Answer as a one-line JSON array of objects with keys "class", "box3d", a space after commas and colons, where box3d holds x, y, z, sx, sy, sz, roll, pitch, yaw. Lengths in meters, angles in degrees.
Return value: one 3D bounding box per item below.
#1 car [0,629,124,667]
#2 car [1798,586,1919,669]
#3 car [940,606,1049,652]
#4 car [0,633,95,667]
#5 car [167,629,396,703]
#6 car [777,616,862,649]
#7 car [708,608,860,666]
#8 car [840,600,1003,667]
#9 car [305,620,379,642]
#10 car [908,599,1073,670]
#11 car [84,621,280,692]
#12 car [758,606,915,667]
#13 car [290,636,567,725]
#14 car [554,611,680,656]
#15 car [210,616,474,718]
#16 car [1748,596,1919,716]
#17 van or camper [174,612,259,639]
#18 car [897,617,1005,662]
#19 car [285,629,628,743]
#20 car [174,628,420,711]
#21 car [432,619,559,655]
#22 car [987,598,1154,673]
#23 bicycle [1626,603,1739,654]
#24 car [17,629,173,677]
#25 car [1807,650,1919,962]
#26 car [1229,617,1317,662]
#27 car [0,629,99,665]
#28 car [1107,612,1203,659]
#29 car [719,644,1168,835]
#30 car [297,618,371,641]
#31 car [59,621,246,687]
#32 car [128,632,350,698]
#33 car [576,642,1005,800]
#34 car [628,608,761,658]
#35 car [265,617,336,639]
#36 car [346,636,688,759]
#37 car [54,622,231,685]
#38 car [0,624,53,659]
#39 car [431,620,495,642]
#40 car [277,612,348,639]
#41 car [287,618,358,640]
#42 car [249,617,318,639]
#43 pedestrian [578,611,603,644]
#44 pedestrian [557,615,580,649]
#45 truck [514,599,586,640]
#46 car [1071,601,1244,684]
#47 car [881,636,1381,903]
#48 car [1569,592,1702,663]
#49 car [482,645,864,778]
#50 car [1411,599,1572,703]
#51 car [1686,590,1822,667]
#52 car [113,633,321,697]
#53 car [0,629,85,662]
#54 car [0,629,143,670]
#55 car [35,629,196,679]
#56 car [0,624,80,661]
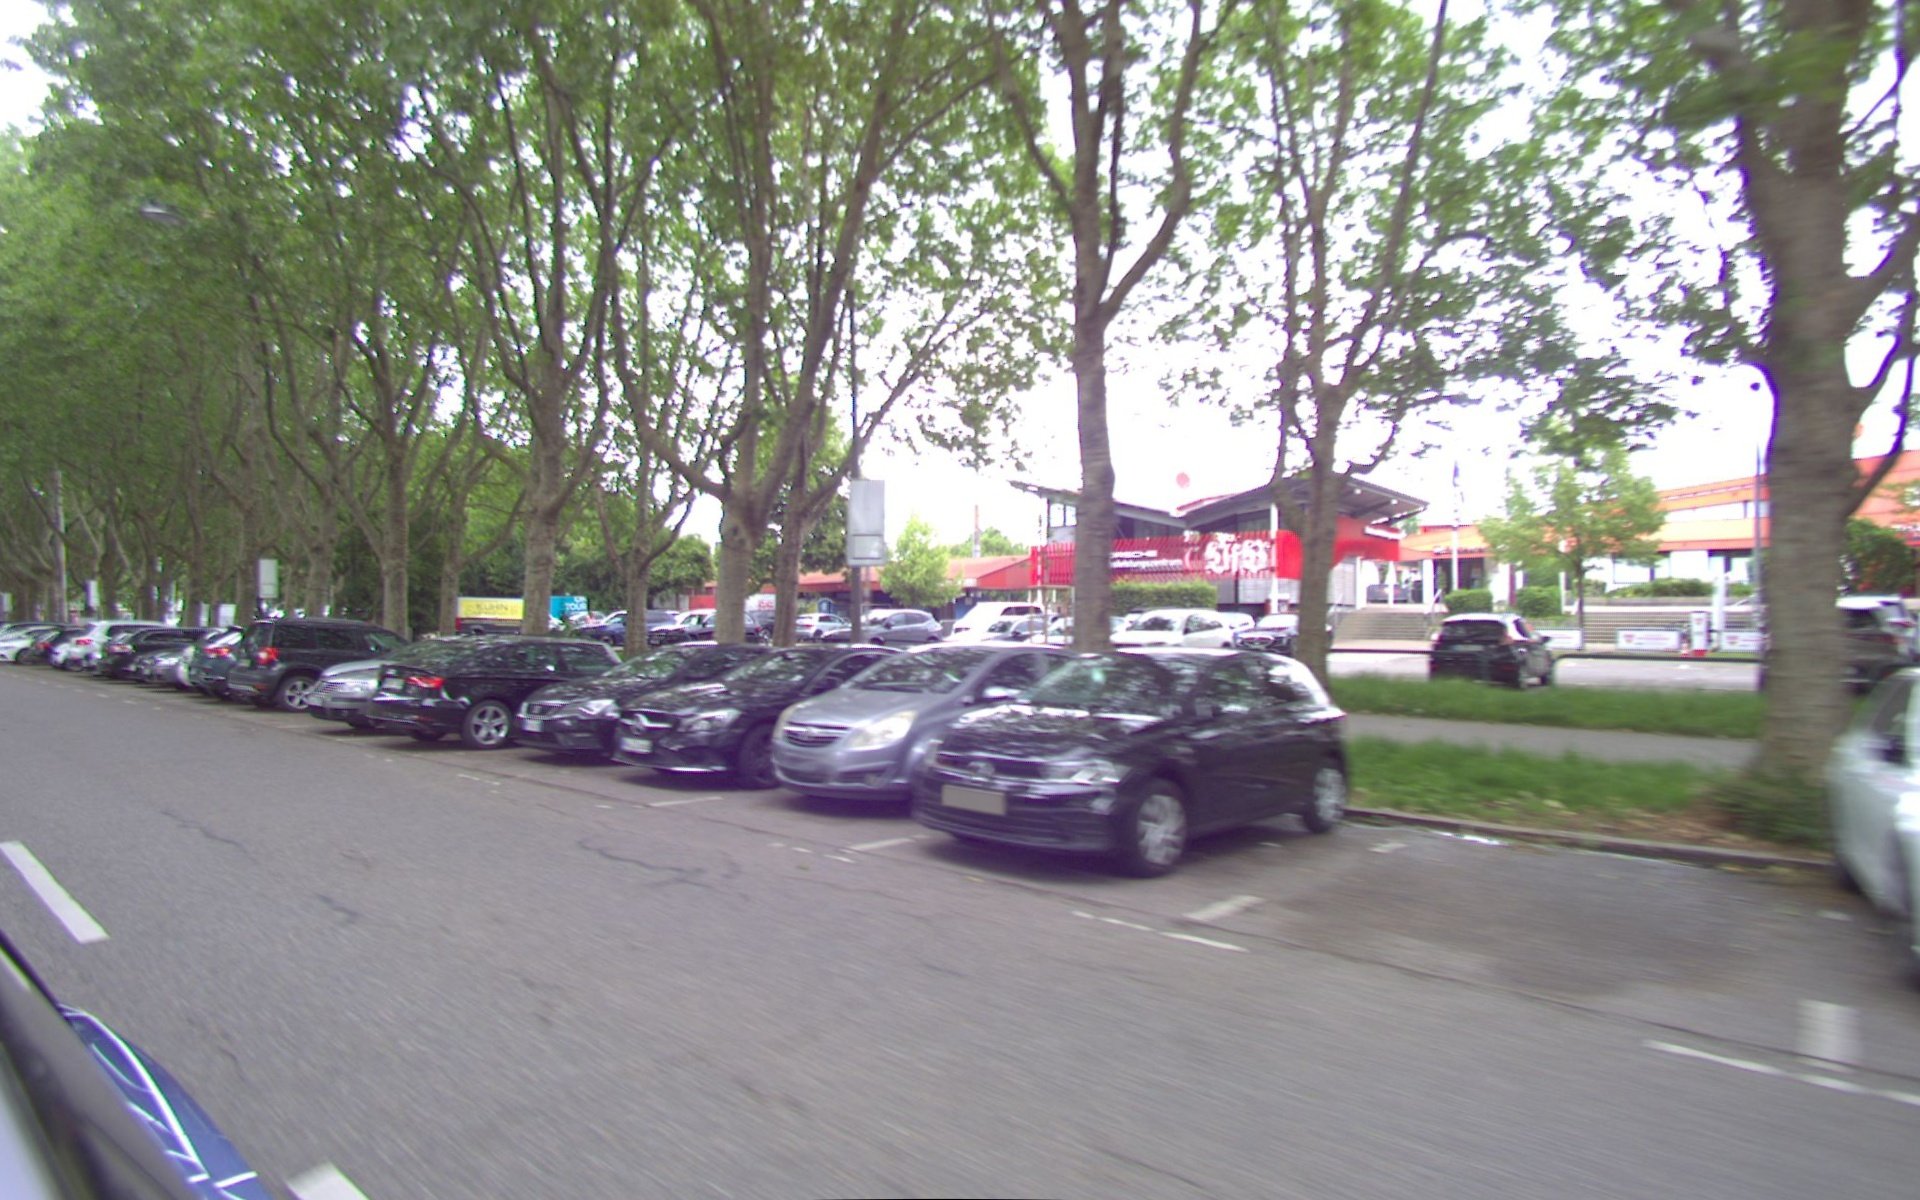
[{"class": "car", "box3d": [-36.133, 1.909, 40.120, 1.783, 1.428, 4.360, -2, -4, 42]}, {"class": "car", "box3d": [22.547, 0.633, 25.071, 4.525, 1.869, 2.298, 0, -1, -44]}, {"class": "car", "box3d": [1.529, 1.181, 42.849, 2.180, 1.810, 4.894, -1, -1, 38]}, {"class": "car", "box3d": [-40.103, 2.142, 43.346, 1.722, 1.406, 4.365, -2, -3, 38]}, {"class": "car", "box3d": [-15.005, 1.437, 22.527, 3.947, 1.497, 1.704, 3, -4, -45]}, {"class": "car", "box3d": [-6.983, 1.599, 50.661, 1.996, 1.562, 3.983, -1, -1, 36]}, {"class": "car", "box3d": [-5.855, 1.182, 34.231, 2.180, 1.810, 4.894, -1, -1, 38]}, {"class": "car", "box3d": [-1.030, 0.911, 29.812, 2.180, 1.810, 4.894, -1, -1, 38]}, {"class": "car", "box3d": [-56.199, 2.749, 92.158, 1.997, 1.864, 5.399, -1, -1, 38]}, {"class": "car", "box3d": [0.957, 0.886, 28.395, 2.180, 1.810, 4.894, -1, -1, 38]}, {"class": "car", "box3d": [-20.915, 1.455, 27.305, 1.855, 1.695, 3.945, -1, -1, 42]}, {"class": "car", "box3d": [-3.851, 1.124, 32.319, 2.180, 1.810, 4.894, -2, -2, 38]}, {"class": "car", "box3d": [-9.216, 1.345, 17.787, 1.825, 1.375, 3.891, -2, -3, 39]}, {"class": "car", "box3d": [-14.015, 1.398, 41.527, 1.998, 1.734, 4.508, -1, -3, 38]}, {"class": "car", "box3d": [-11.588, 1.230, 19.199, 1.750, 1.721, 3.891, -2, -4, 39]}, {"class": "car", "box3d": [14.761, 0.826, 16.975, 2.294, 1.738, 4.506, -1, -1, 40]}, {"class": "van or camper", "box3d": [-60.830, 2.060, 82.843, 2.242, 2.115, 5.234, -1, -1, 38]}, {"class": "car", "box3d": [-0.341, 1.693, 44.551, 2.180, 1.810, 4.894, -1, -1, 38]}, {"class": "car", "box3d": [-7.556, 1.244, 15.603, 1.701, 1.493, 4.419, -2, -3, 39]}, {"class": "car", "box3d": [-13.484, 1.382, 20.741, 1.728, 1.528, 3.888, -2, -4, 42]}, {"class": "car", "box3d": [-22.736, 1.758, 49.704, 2.093, 1.608, 5.295, -1, -1, 39]}, {"class": "car", "box3d": [3.040, 0.859, 26.932, 2.180, 1.810, 4.894, -1, -1, 38]}, {"class": "bicycle", "box3d": [22.756, 0.870, 31.909, 2.800, 1.551, 1.038, -1, -1, 41]}, {"class": "car", "box3d": [-30.199, 1.800, 35.407, 1.855, 1.464, 3.945, -1, -1, 42]}, {"class": "car", "box3d": [5.441, 0.978, 4.601, 1.758, 1.483, 3.756, -1, -3, 30]}, {"class": "car", "box3d": [10.629, 1.297, 34.254, 1.504, 1.382, 3.948, -1, -1, 39]}, {"class": "car", "box3d": [-38.335, 1.926, 41.493, 1.774, 1.435, 4.364, -2, -3, 39]}, {"class": "car", "box3d": [7.292, 1.266, 37.541, 1.997, 1.637, 3.950, -1, -1, 37]}, {"class": "car", "box3d": [0.085, 1.135, 9.710, 1.878, 1.380, 4.417, -2, -4, 40]}, {"class": "car", "box3d": [-58.016, 2.700, 93.902, 2.473, 2.013, 5.399, -1, -1, 38]}, {"class": "car", "box3d": [-23.041, 1.483, 28.985, 1.855, 1.695, 3.945, -1, -1, 42]}, {"class": "car", "box3d": [-17.006, 1.507, 24.018, 1.701, 1.431, 3.953, -2, -3, 39]}, {"class": "car", "box3d": [-1.634, 1.166, 11.073, 1.901, 1.358, 4.415, -2, -4, 42]}, {"class": "car", "box3d": [-9.861, 1.282, 37.877, 1.998, 1.734, 4.508, -1, -3, 38]}, {"class": "car", "box3d": [-65.753, 2.790, 100.996, 2.390, 2.036, 5.399, -1, -3, 38]}, {"class": "car", "box3d": [-5.831, 1.226, 13.716, 1.701, 1.409, 3.891, -2, -3, 39]}, {"class": "car", "box3d": [-24.745, 1.566, 30.719, 1.855, 1.695, 3.945, -1, -1, 42]}, {"class": "car", "box3d": [-46.179, 1.972, 48.027, 2.045, 1.639, 4.365, -2, -3, 38]}, {"class": "car", "box3d": [-37.699, 2.334, 76.831, 1.797, 1.498, 3.951, -1, -1, 36]}, {"class": "car", "box3d": [-63.329, 2.427, 99.081, 2.391, 2.536, 5.399, -1, -1, 38]}, {"class": "car", "box3d": [-61.270, 2.754, 97.339, 2.391, 2.036, 5.399, -1, -1, 38]}, {"class": "car", "box3d": [-69.191, 2.844, 103.601, 2.391, 2.036, 5.399, -1, -1, 38]}, {"class": "pedestrian", "box3d": [-20.308, 1.501, 55.637, 0.917, 1.814, 0.932, -1, -1, 41]}, {"class": "pedestrian", "box3d": [-21.154, 1.732, 54.674, 0.917, 1.814, 0.808, -1, 0, 41]}, {"class": "truck", "box3d": [-28.026, 1.312, 69.305, 2.374, 2.737, 3.947, -1, -1, 39]}, {"class": "car", "box3d": [4.955, 0.987, 24.876, 2.180, 1.810, 4.894, -2, -2, 38]}, {"class": "car", "box3d": [1.476, 1.039, 7.515, 1.756, 1.432, 3.934, -2, -4, 44]}, {"class": "car", "box3d": [19.485, 0.733, 29.117, 4.525, 1.869, 2.298, 0, -1, -44]}, {"class": "car", "box3d": [-3.435, 1.305, 12.888, 1.858, 1.377, 4.419, -2, -4, 39]}, {"class": "car", "box3d": [10.829, 0.925, 20.468, 2.026, 1.875, 4.277, -1, -1, 40]}, {"class": "car", "box3d": [21.322, 0.704, 27.108, 4.525, 1.869, 2.298, 0, -1, -44]}, {"class": "car", "box3d": [-18.849, 1.591, 25.805, 1.842, 1.379, 3.948, -1, -1, 39]}, {"class": "car", "box3d": [-41.802, 2.022, 44.757, 2.044, 1.406, 4.366, -2, -3, 37]}, {"class": "car", "box3d": [-34.164, 1.872, 38.513, 2.043, 1.455, 4.369, -1, -3, 35]}, {"class": "car", "box3d": [-28.360, 1.777, 34.080, 1.855, 1.464, 3.945, -1, -1, 42]}, {"class": "car", "box3d": [-43.595, 1.945, 46.543, 2.044, 1.639, 4.366, -2, -3, 37]}]
